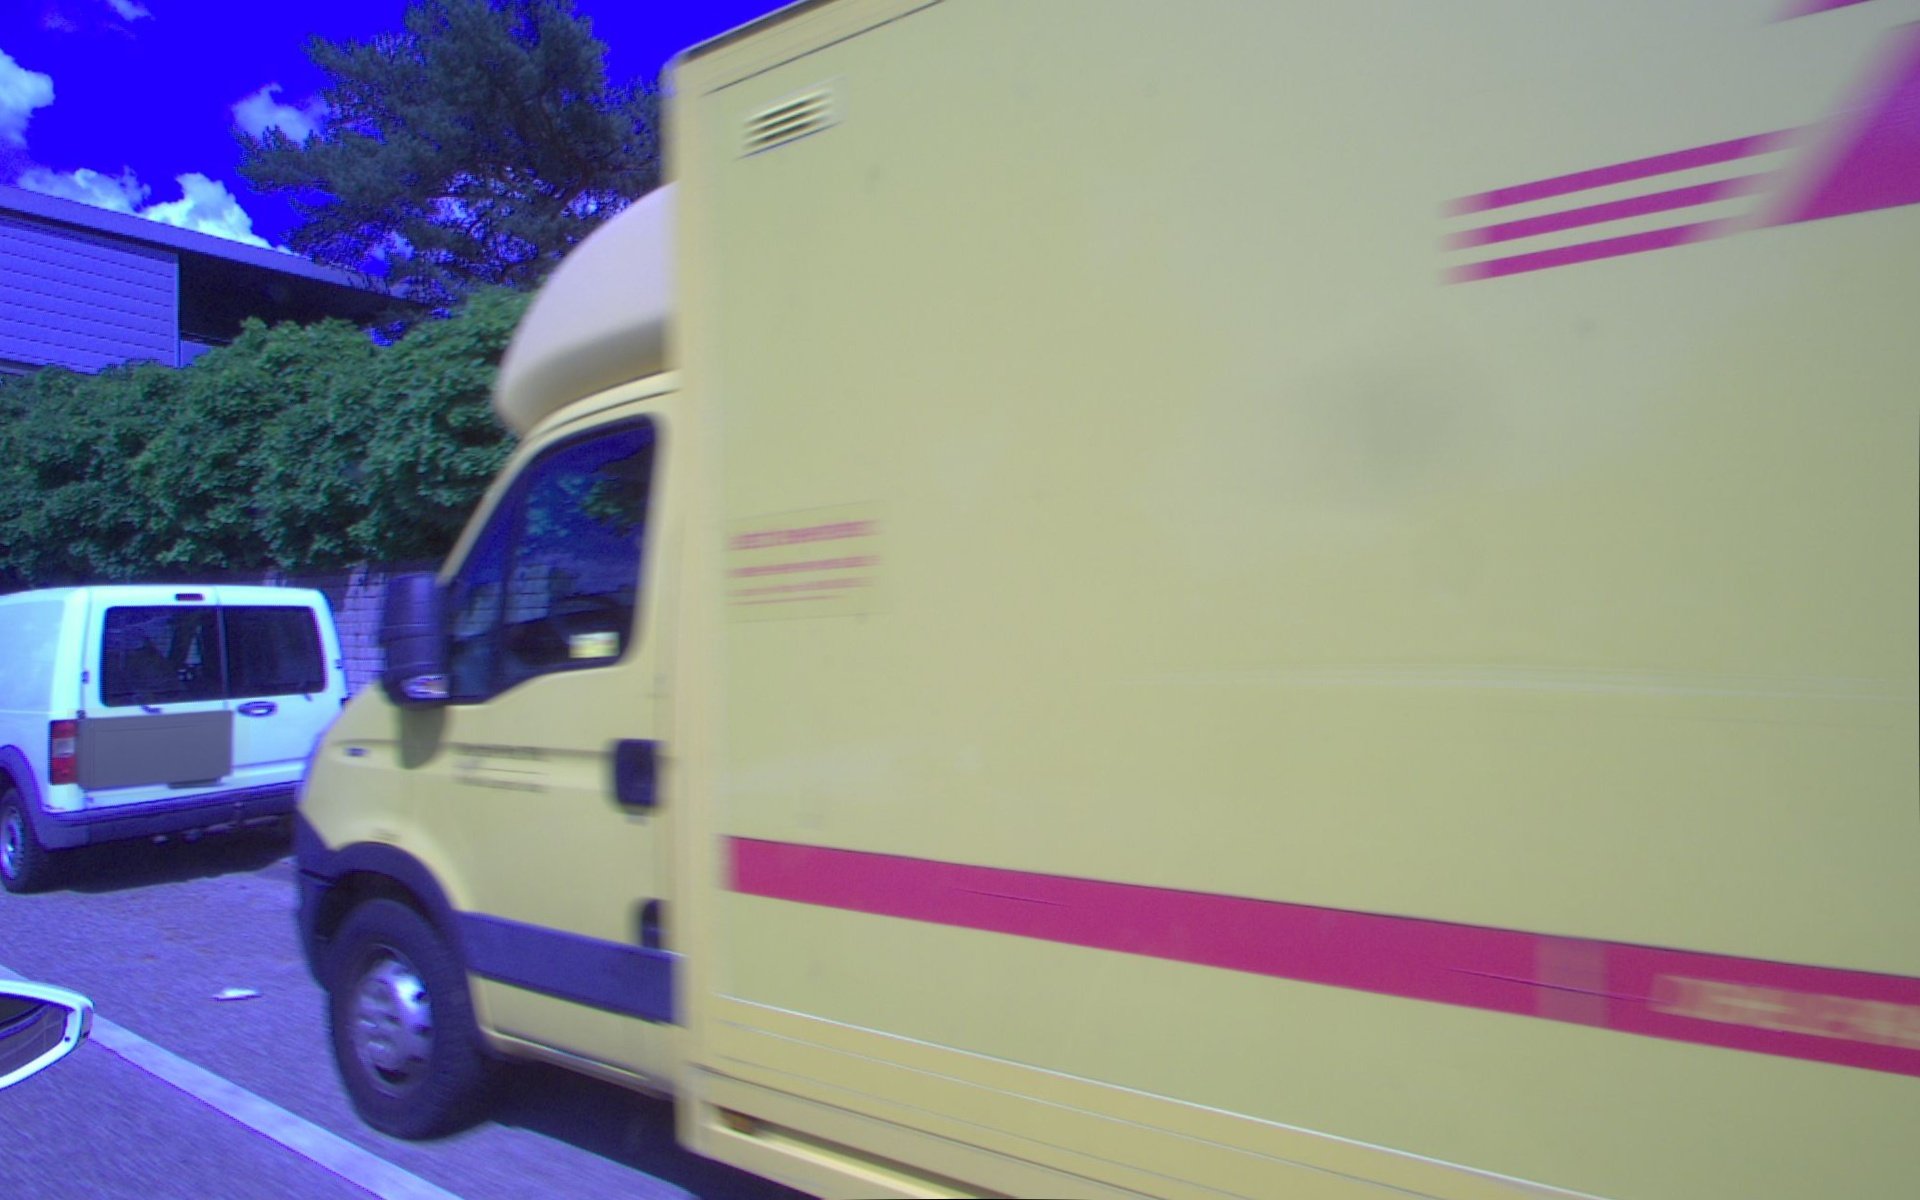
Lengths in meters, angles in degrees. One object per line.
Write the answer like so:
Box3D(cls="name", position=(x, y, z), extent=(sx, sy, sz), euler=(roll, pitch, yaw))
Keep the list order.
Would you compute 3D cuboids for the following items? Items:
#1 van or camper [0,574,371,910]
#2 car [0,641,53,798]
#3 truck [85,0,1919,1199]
Box3D(cls="van or camper", position=(-6.884, 0.858, 7.713), extent=(5.508, 1.828, 1.756), euler=(-1, -2, 33))
Box3D(cls="car", position=(-11.199, 1.145, 10.210), extent=(4.698, 1.460, 1.679), euler=(-1, -2, 32))
Box3D(cls="truck", position=(0.763, 0.094, 2.607), extent=(7.083, 2.977, 2.472), euler=(-1, -3, 31))
